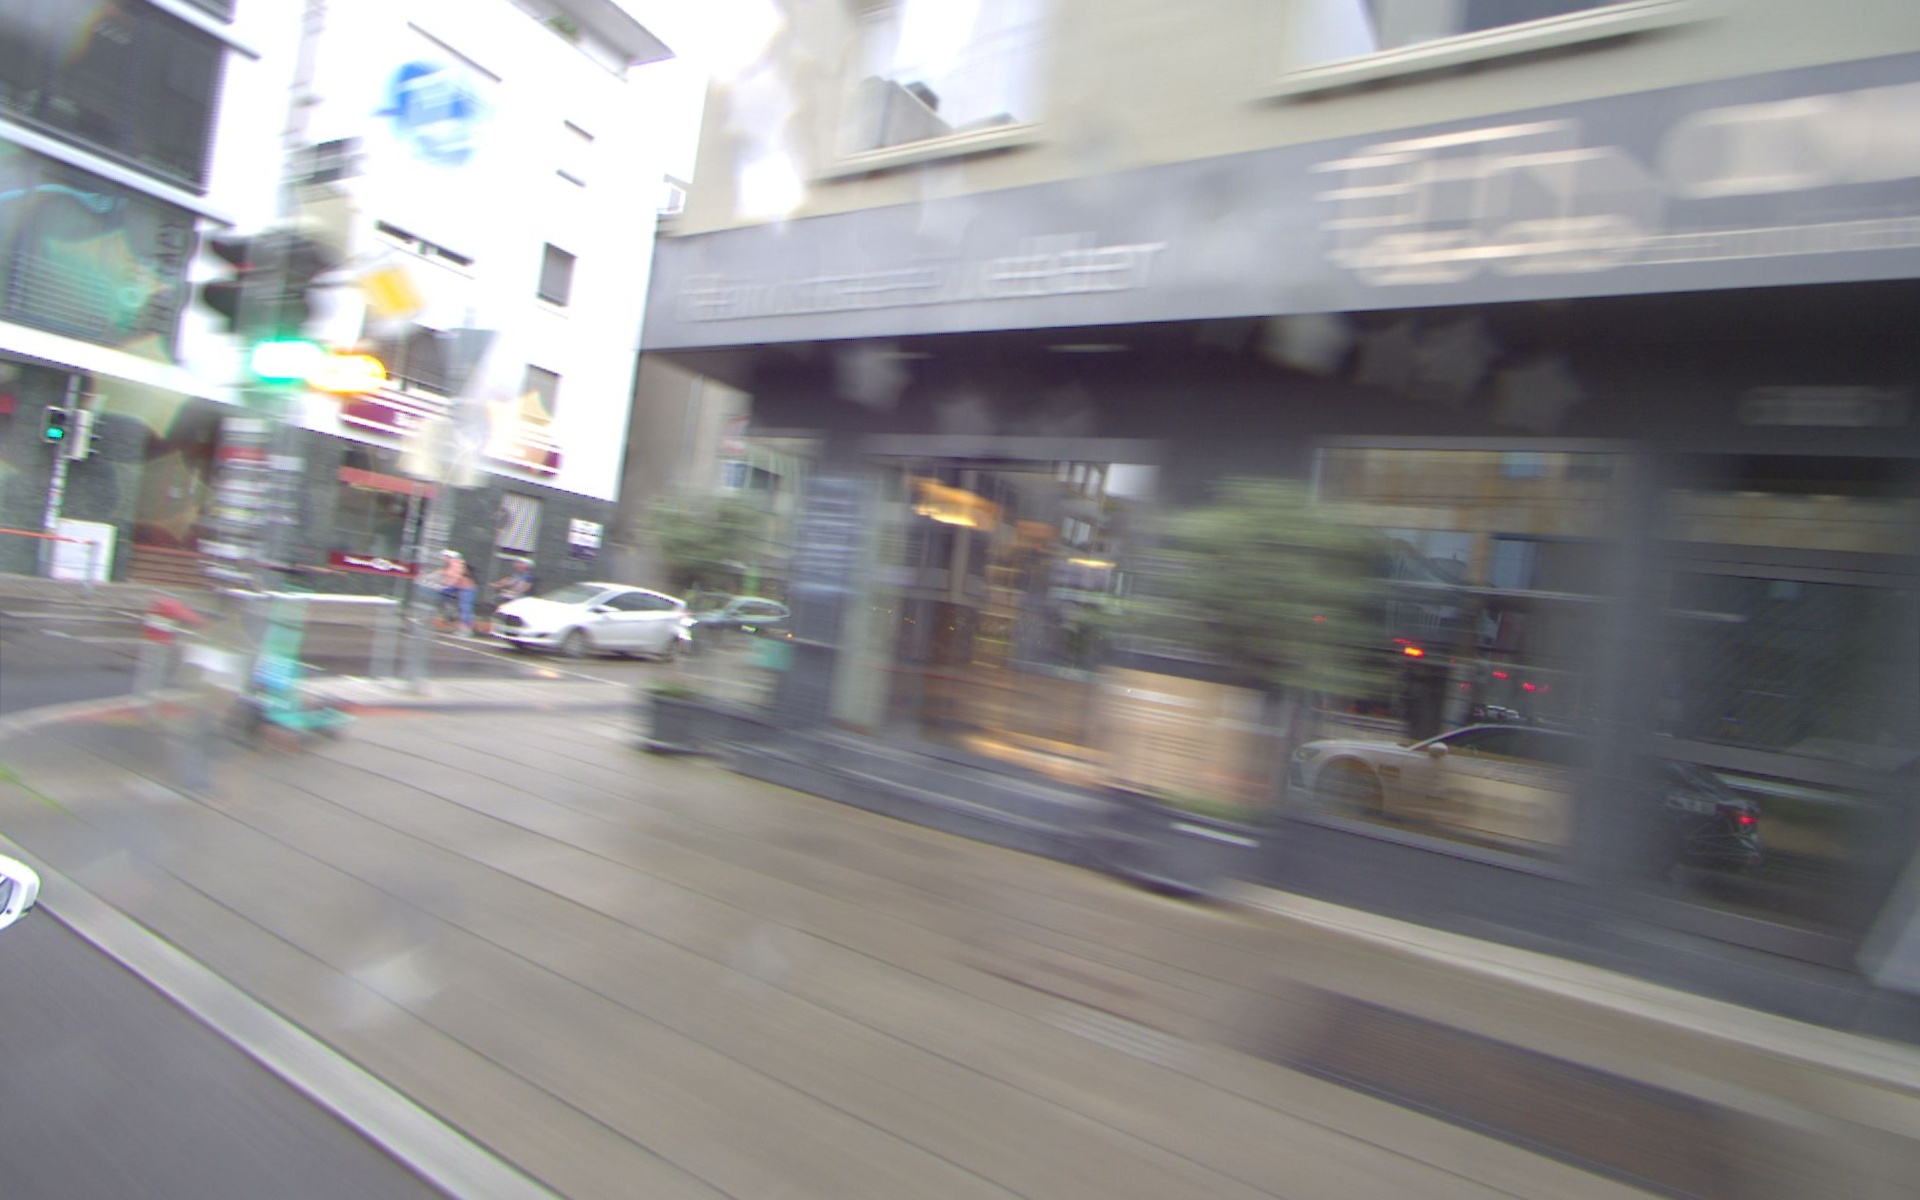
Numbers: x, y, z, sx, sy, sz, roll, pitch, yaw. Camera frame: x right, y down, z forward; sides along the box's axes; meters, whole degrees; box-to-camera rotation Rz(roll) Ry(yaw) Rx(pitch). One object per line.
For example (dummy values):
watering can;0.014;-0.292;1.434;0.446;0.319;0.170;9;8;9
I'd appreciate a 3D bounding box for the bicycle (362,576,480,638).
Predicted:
bicycle;-10.838;0.156;20.301;0.743;1.022;1.930;7;-1;29

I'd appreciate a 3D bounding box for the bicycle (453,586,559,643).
bicycle;-9.944;0.336;22.102;0.743;1.022;1.984;7;-1;29

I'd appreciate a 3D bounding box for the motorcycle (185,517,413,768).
motorcycle;-4.389;0.276;6.779;0.672;1.478;1.132;7;-1;-5

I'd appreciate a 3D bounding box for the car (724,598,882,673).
car;-3.926;0.962;25.843;1.693;1.504;4.086;7;-2;30

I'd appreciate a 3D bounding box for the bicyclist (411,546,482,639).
bicyclist;-10.568;-0.142;20.716;0.744;1.767;0.842;7;-1;29

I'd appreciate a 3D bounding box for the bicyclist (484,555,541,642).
bicyclist;-9.862;-0.032;22.178;0.744;1.812;0.635;7;0;30

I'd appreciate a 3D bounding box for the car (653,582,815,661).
car;-6.002;0.632;27.201;1.848;1.659;4.086;7;-2;30

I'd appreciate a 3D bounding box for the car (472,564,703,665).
car;-7.179;0.348;19.779;1.693;1.504;3.975;7;-2;30
